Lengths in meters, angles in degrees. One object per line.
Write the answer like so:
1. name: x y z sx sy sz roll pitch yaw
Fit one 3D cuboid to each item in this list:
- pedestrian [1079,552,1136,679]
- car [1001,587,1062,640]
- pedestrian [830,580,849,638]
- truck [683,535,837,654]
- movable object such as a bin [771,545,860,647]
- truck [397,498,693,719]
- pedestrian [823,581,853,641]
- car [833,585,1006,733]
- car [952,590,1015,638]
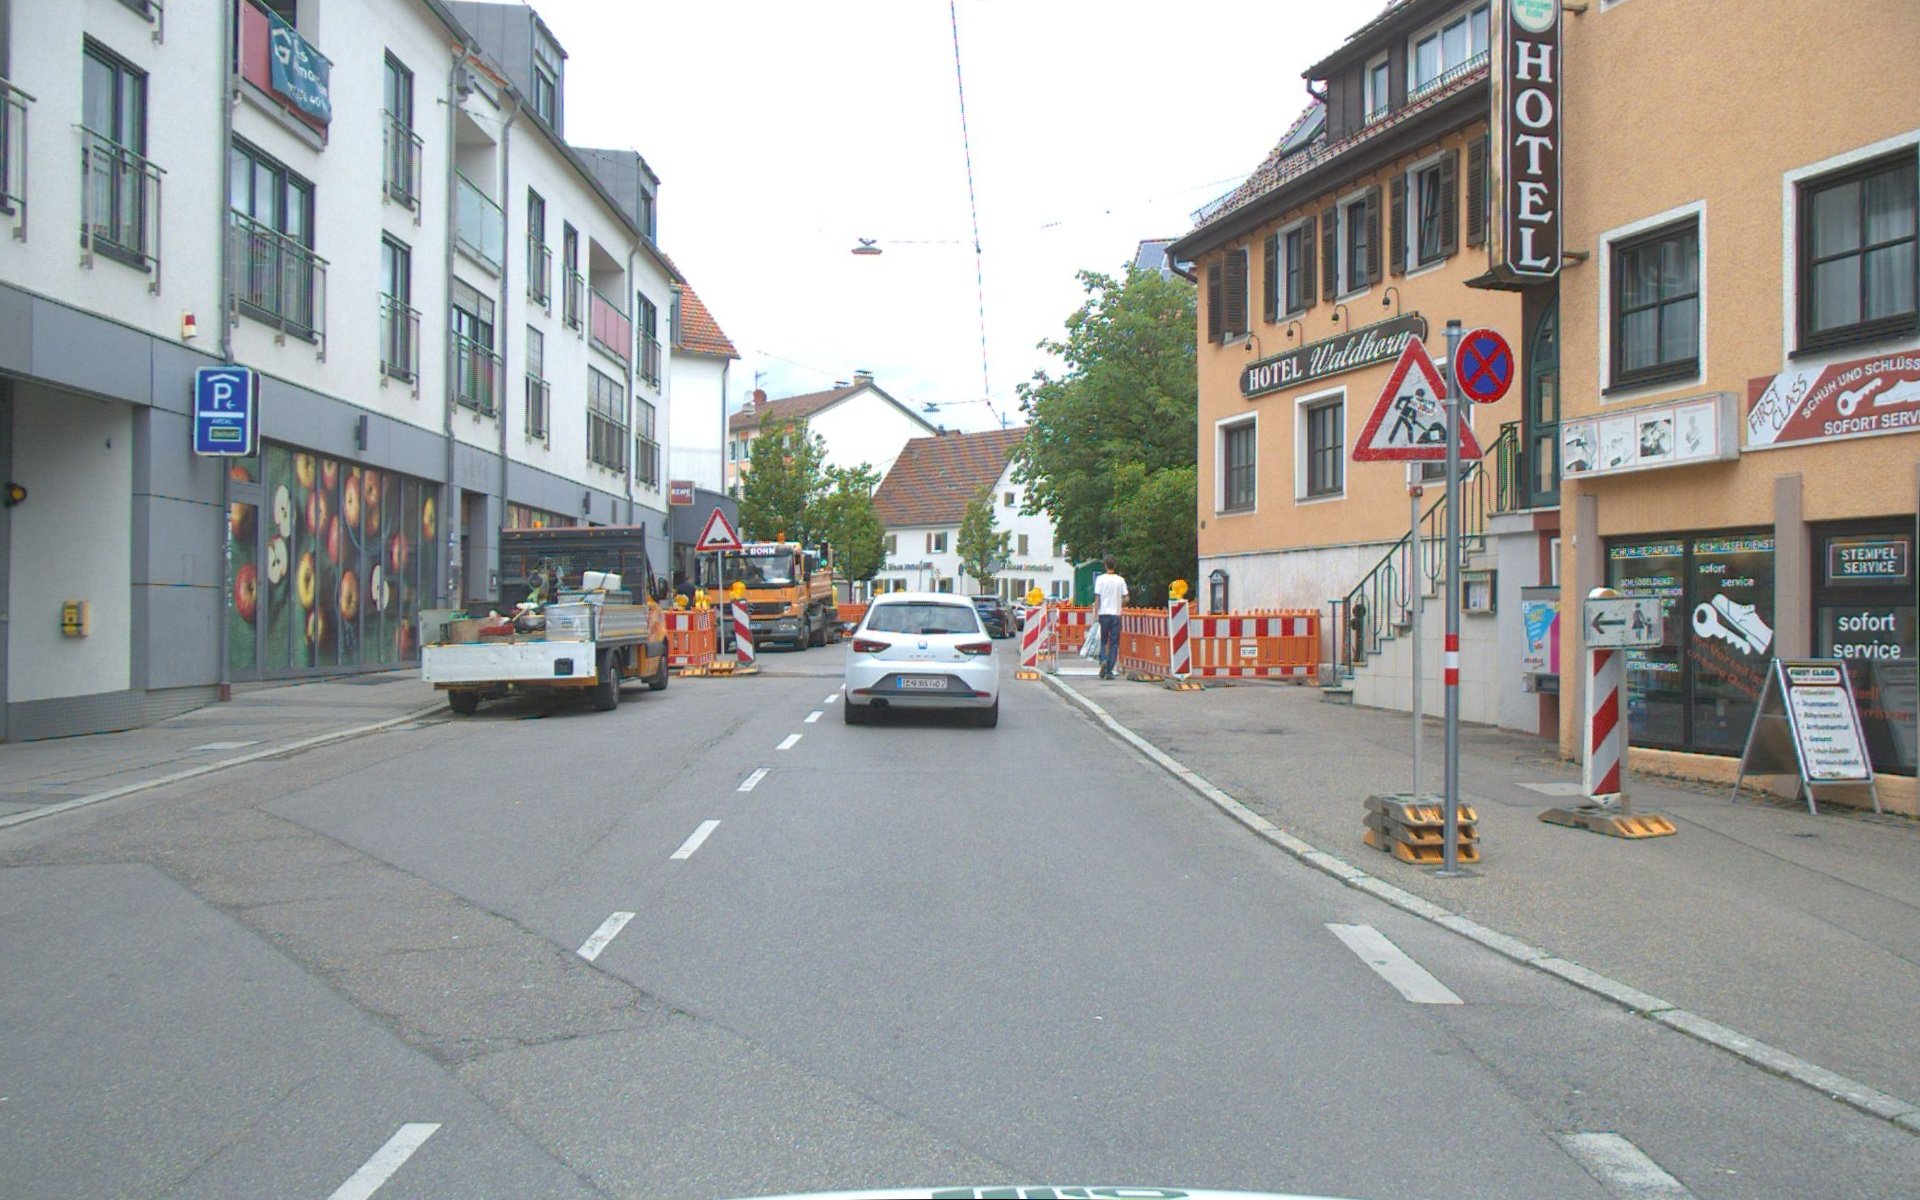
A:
1. pedestrian: 2.344 0.239 26.356 0.782 1.984 0.836 -1 0 -3
2. car: 2.900 0.519 66.262 1.951 2.049 4.003 0 0 10
3. pedestrian: -3.744 0.279 51.476 0.526 1.774 0.444 0 0 7
4. truck: -4.900 -0.160 41.839 2.674 2.772 6.851 0 0 3
5. movable object such as a bin: -4.120 -0.060 47.887 1.800 2.812 4.508 0 -1 5
6. truck: -5.268 0.056 22.124 2.364 2.509 6.307 -1 1 0
7. pedestrian: -3.791 0.337 51.562 0.797 1.847 0.744 0 0 6
8. car: -0.426 0.603 19.310 1.774 1.506 3.870 2 1 0
9. car: 0.817 0.450 55.079 1.773 1.506 3.873 0 1 6
